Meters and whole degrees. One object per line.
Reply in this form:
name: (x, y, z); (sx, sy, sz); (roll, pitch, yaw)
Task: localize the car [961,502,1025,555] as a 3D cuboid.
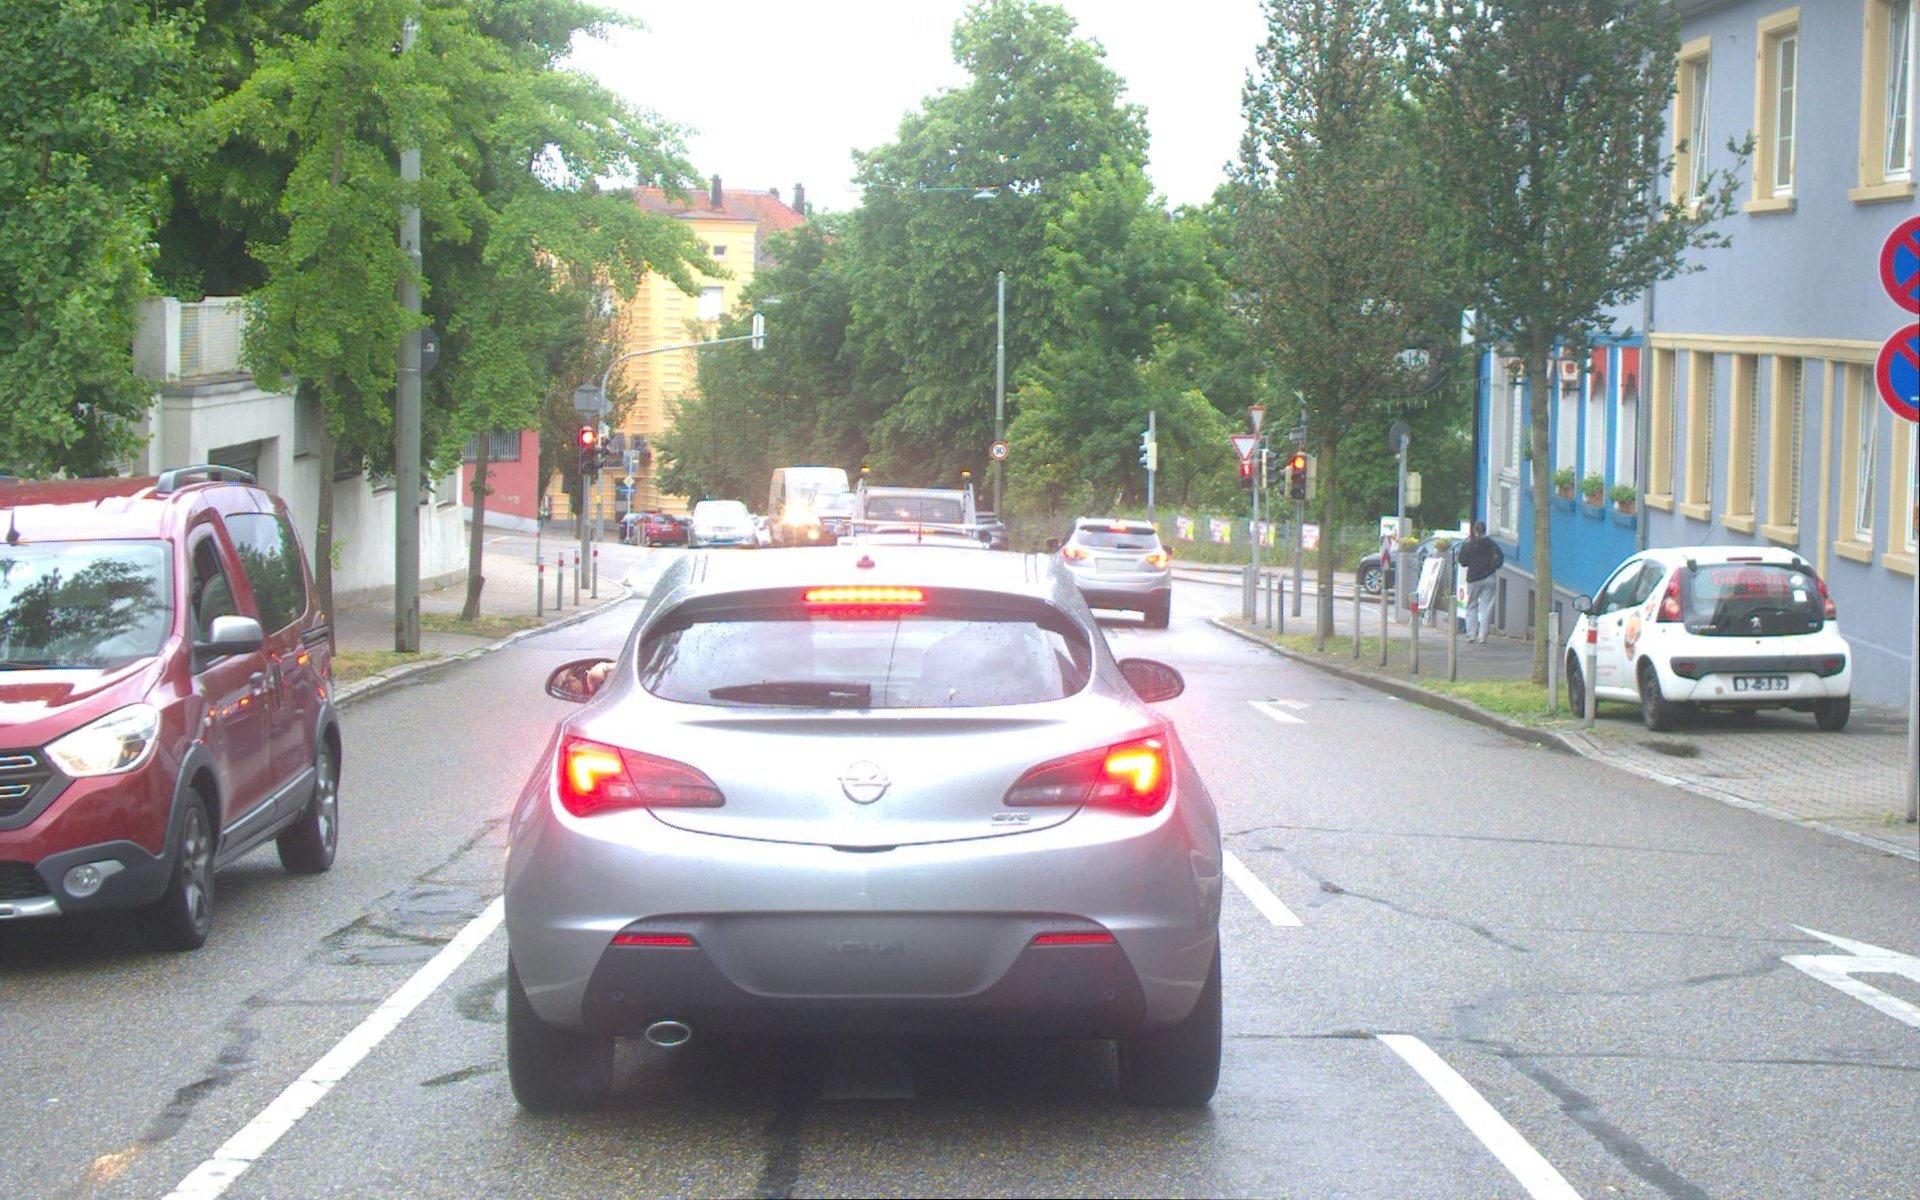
car: (1.021, -2.262, 108.905); (1.722, 1.632, 3.880); (0, 1, -4)

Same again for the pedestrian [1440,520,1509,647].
pedestrian: (7.165, -0.231, 47.884); (0.783, 1.723, 0.651); (2, 1, 0)

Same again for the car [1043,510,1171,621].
car: (2.327, -0.578, 55.139); (1.722, 1.708, 3.880); (0, 1, -2)

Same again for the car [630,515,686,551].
car: (-13.901, -3.086, 158.111); (1.722, 1.632, 3.881); (0, 1, -18)

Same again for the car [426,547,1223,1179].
car: (-0.396, 0.590, 9.970); (1.837, 1.429, 3.880); (1, 1, -2)

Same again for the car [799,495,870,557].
car: (-3.376, -1.986, 92.613); (1.870, 1.632, 3.880); (0, 1, -2)

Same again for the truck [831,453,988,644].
truck: (-0.728, -0.734, 47.104); (1.962, 2.420, 4.936); (2, 1, -2)

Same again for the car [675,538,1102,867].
car: (-0.399, 0.448, 18.355); (1.962, 1.443, 4.306); (2, 1, -2)

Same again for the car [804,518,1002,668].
car: (-0.639, -0.120, 37.112); (1.962, 1.443, 4.306); (2, 1, -2)

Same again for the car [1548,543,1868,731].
car: (6.158, 0.259, 28.714); (1.722, 1.443, 3.880); (0, 1, -2)

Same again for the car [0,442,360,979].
car: (-3.682, 0.351, 13.918); (1.746, 1.822, 4.459); (-1, 1, -1)

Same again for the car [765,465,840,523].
car: (-4.612, -3.074, 100.233); (1.722, 1.632, 3.881); (0, 1, -9)

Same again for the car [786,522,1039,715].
car: (-0.442, 0.096, 29.453); (1.962, 1.443, 4.306); (2, 1, -2)

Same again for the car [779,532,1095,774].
car: (-0.212, 0.295, 24.075); (1.962, 1.443, 4.306); (2, 1, -2)

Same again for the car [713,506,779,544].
car: (-8.695, -3.048, 139.342); (1.722, 1.538, 3.881); (0, 1, -18)

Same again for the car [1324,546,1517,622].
car: (10.189, -0.375, 76.114); (3.873, 1.632, 1.725); (1, 1, 30)

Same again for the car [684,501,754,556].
car: (-6.470, -1.926, 92.594); (1.722, 1.455, 3.880); (0, 1, -2)
